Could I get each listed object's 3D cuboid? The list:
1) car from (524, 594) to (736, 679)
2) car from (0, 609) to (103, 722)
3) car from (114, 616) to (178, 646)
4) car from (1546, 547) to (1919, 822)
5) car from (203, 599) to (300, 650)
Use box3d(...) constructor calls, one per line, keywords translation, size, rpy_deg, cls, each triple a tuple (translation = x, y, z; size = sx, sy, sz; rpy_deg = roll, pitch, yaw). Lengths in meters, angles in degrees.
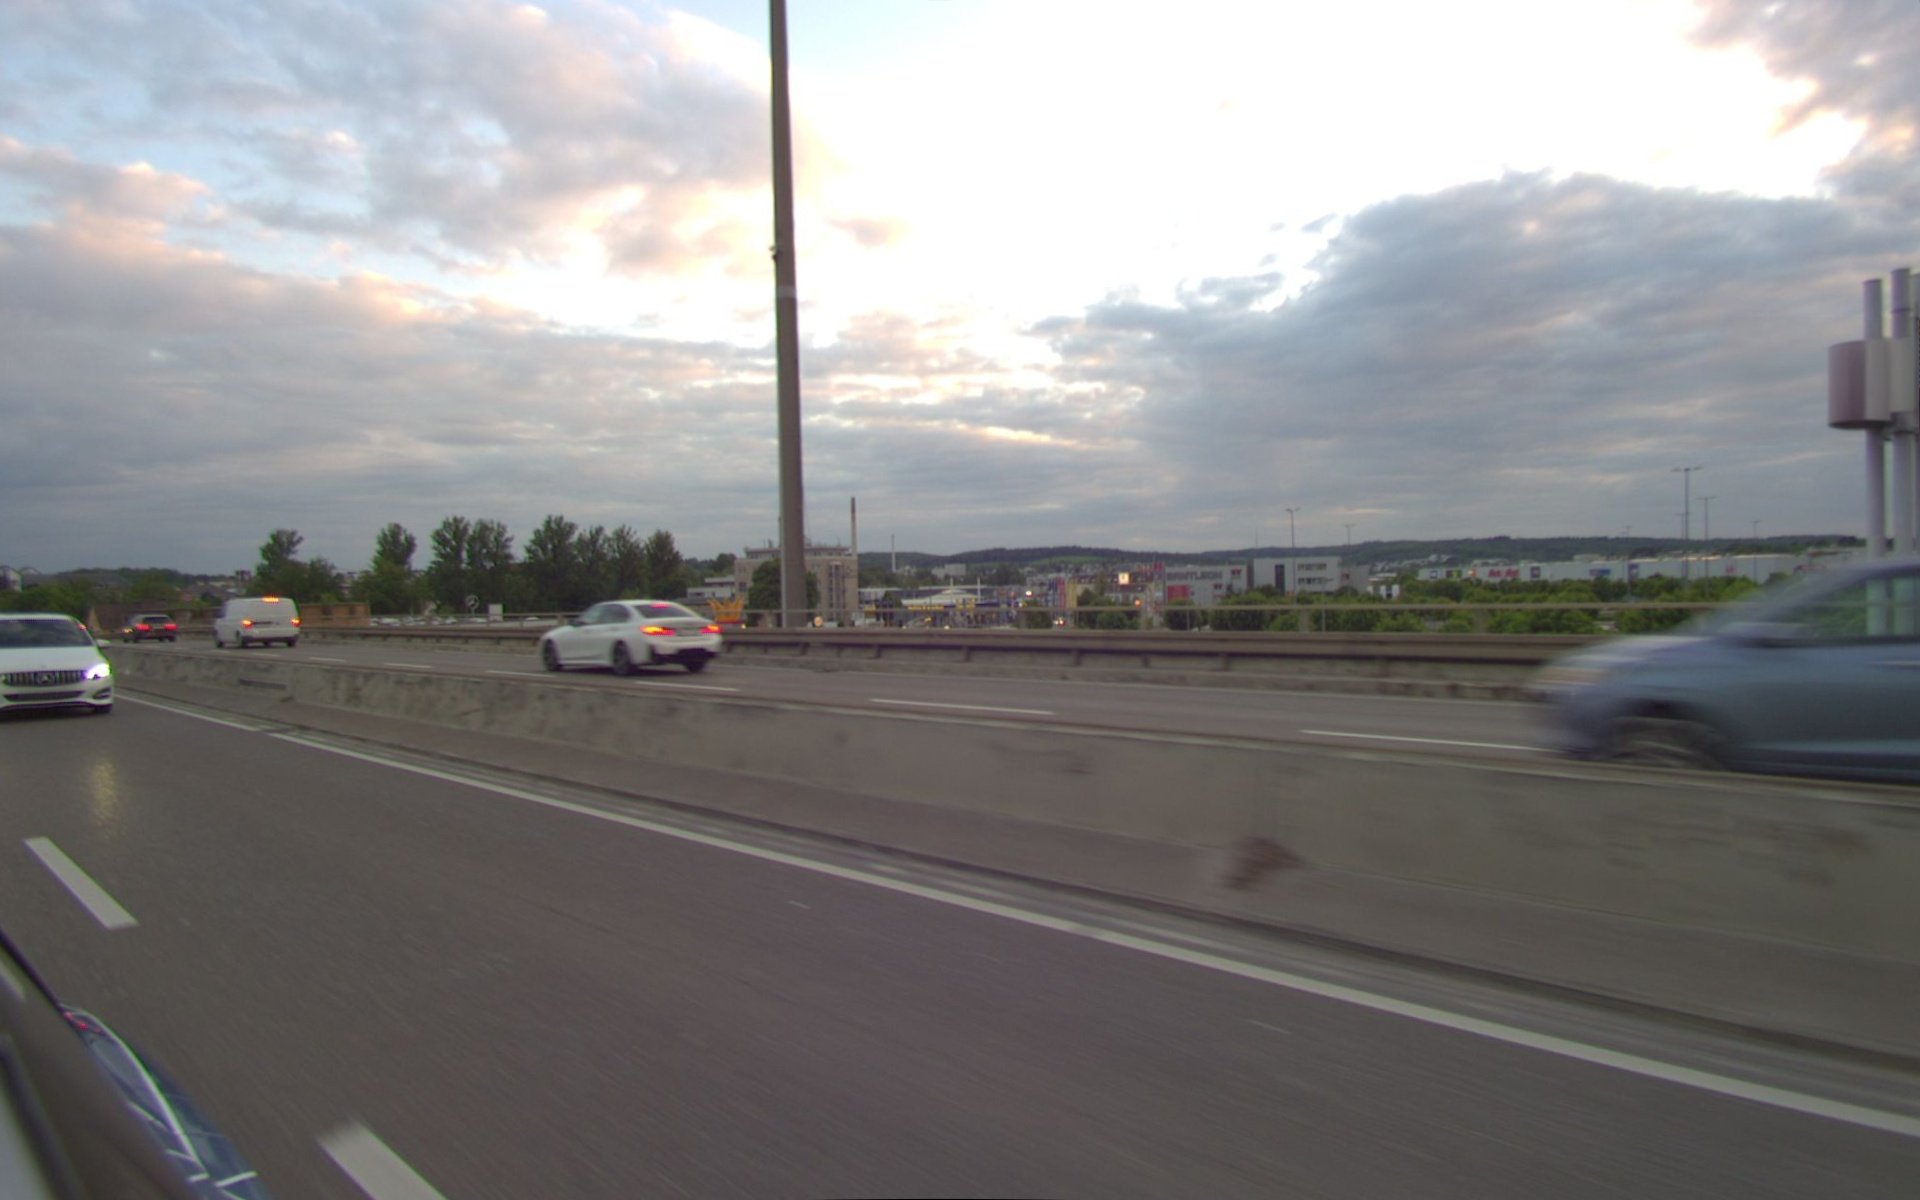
box3d(translation=(-6.762, 0.699, 20.453), size=(4.813, 1.514, 1.812), rpy_deg=(-1, -1, 40), cls="car")
box3d(translation=(-15.016, 1.005, 15.964), size=(4.782, 1.548, 1.673), rpy_deg=(-3, -1, 42), cls="car")
box3d(translation=(-44.199, 1.696, 54.919), size=(4.897, 1.485, 1.810), rpy_deg=(-2, -1, 40), cls="car")
box3d(translation=(5.717, 0.433, 5.840), size=(3.831, 1.452, 1.613), rpy_deg=(-2, -1, 38), cls="car")
box3d(translation=(-28.256, 0.957, 40.278), size=(5.456, 1.915, 1.881), rpy_deg=(-1, 0, 41), cls="car")
